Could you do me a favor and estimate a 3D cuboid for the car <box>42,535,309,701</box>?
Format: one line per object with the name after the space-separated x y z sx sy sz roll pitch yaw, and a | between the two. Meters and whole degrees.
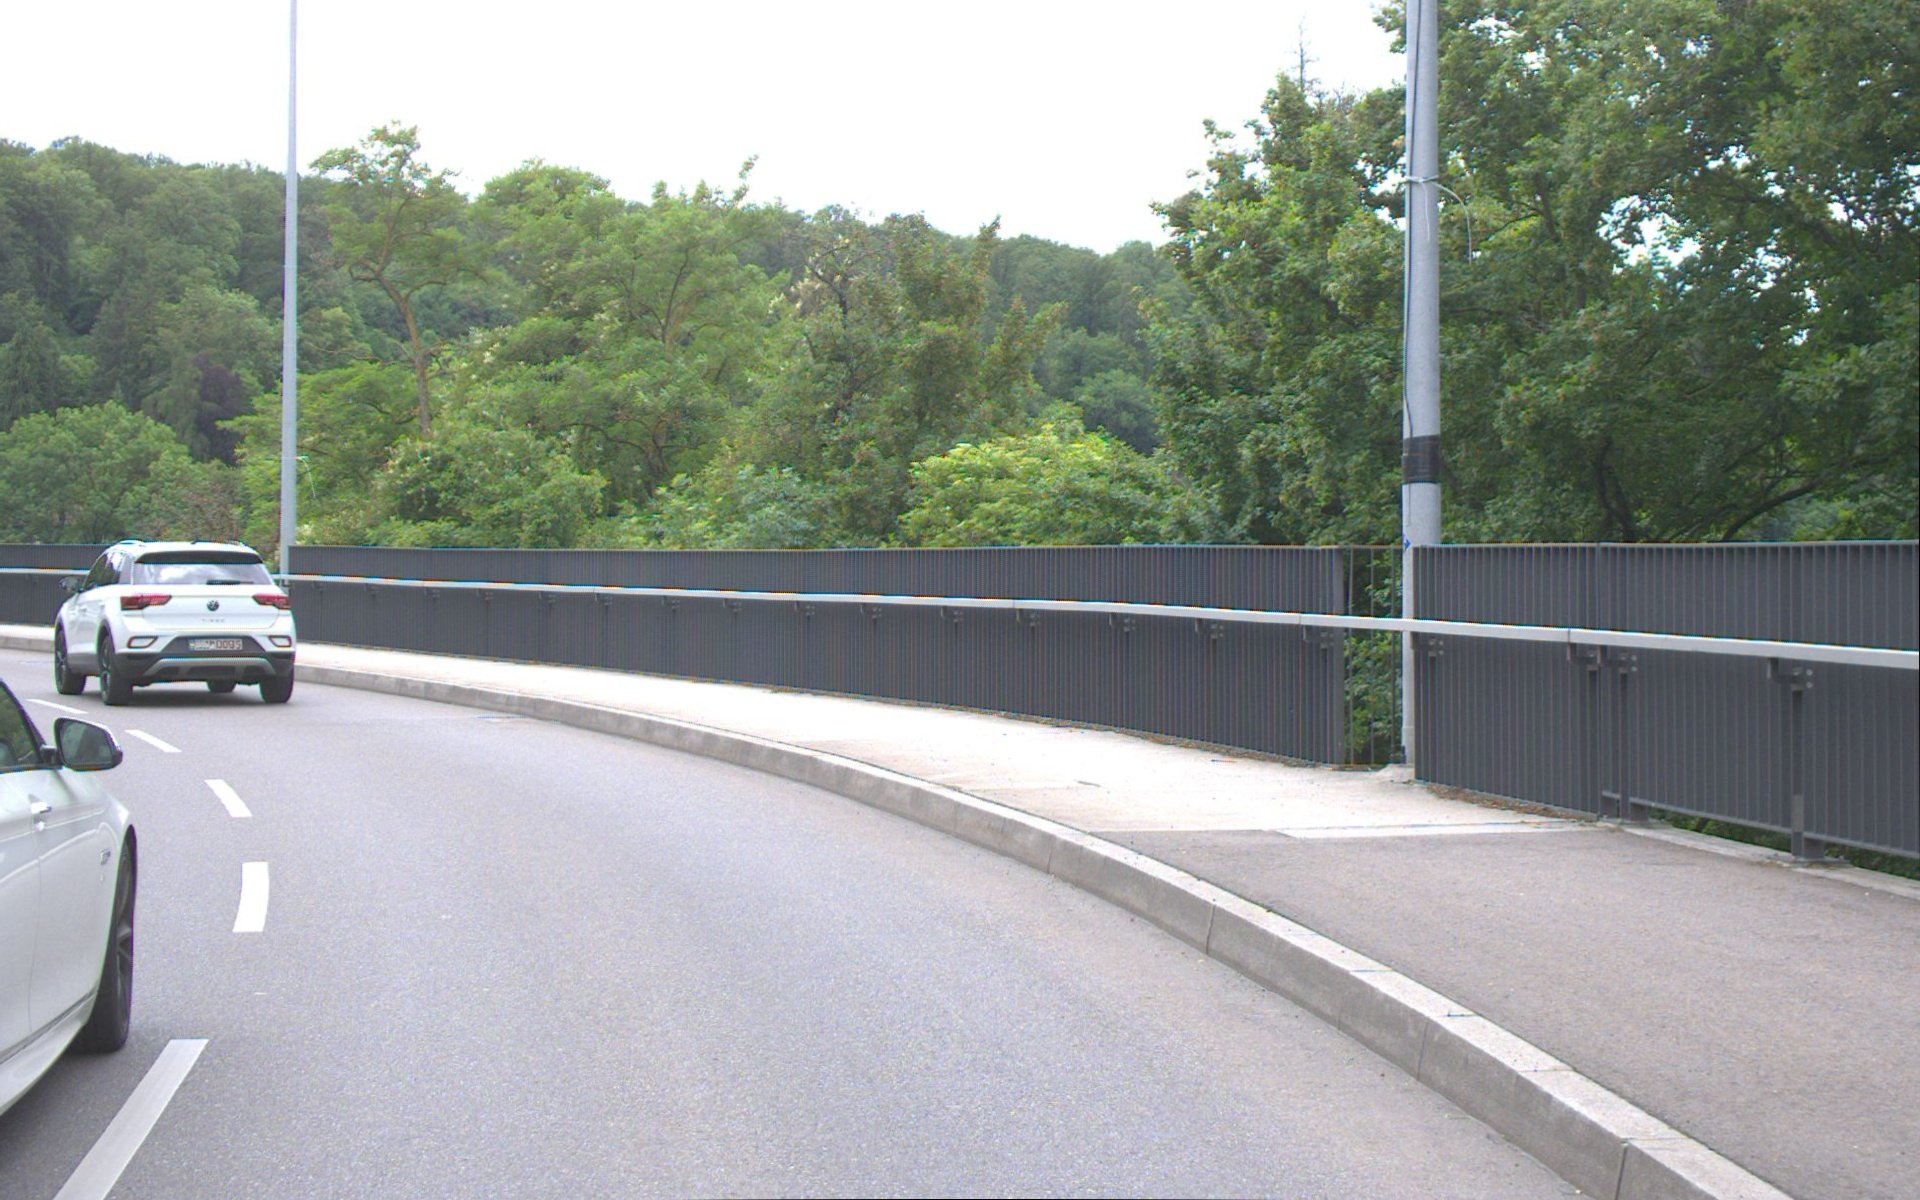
-7.792 0.147 33.906 1.866 1.531 3.804 0 1 -24 | car

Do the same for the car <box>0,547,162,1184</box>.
-3.225 0.612 8.566 1.847 1.462 4.880 0 1 -6 | car
